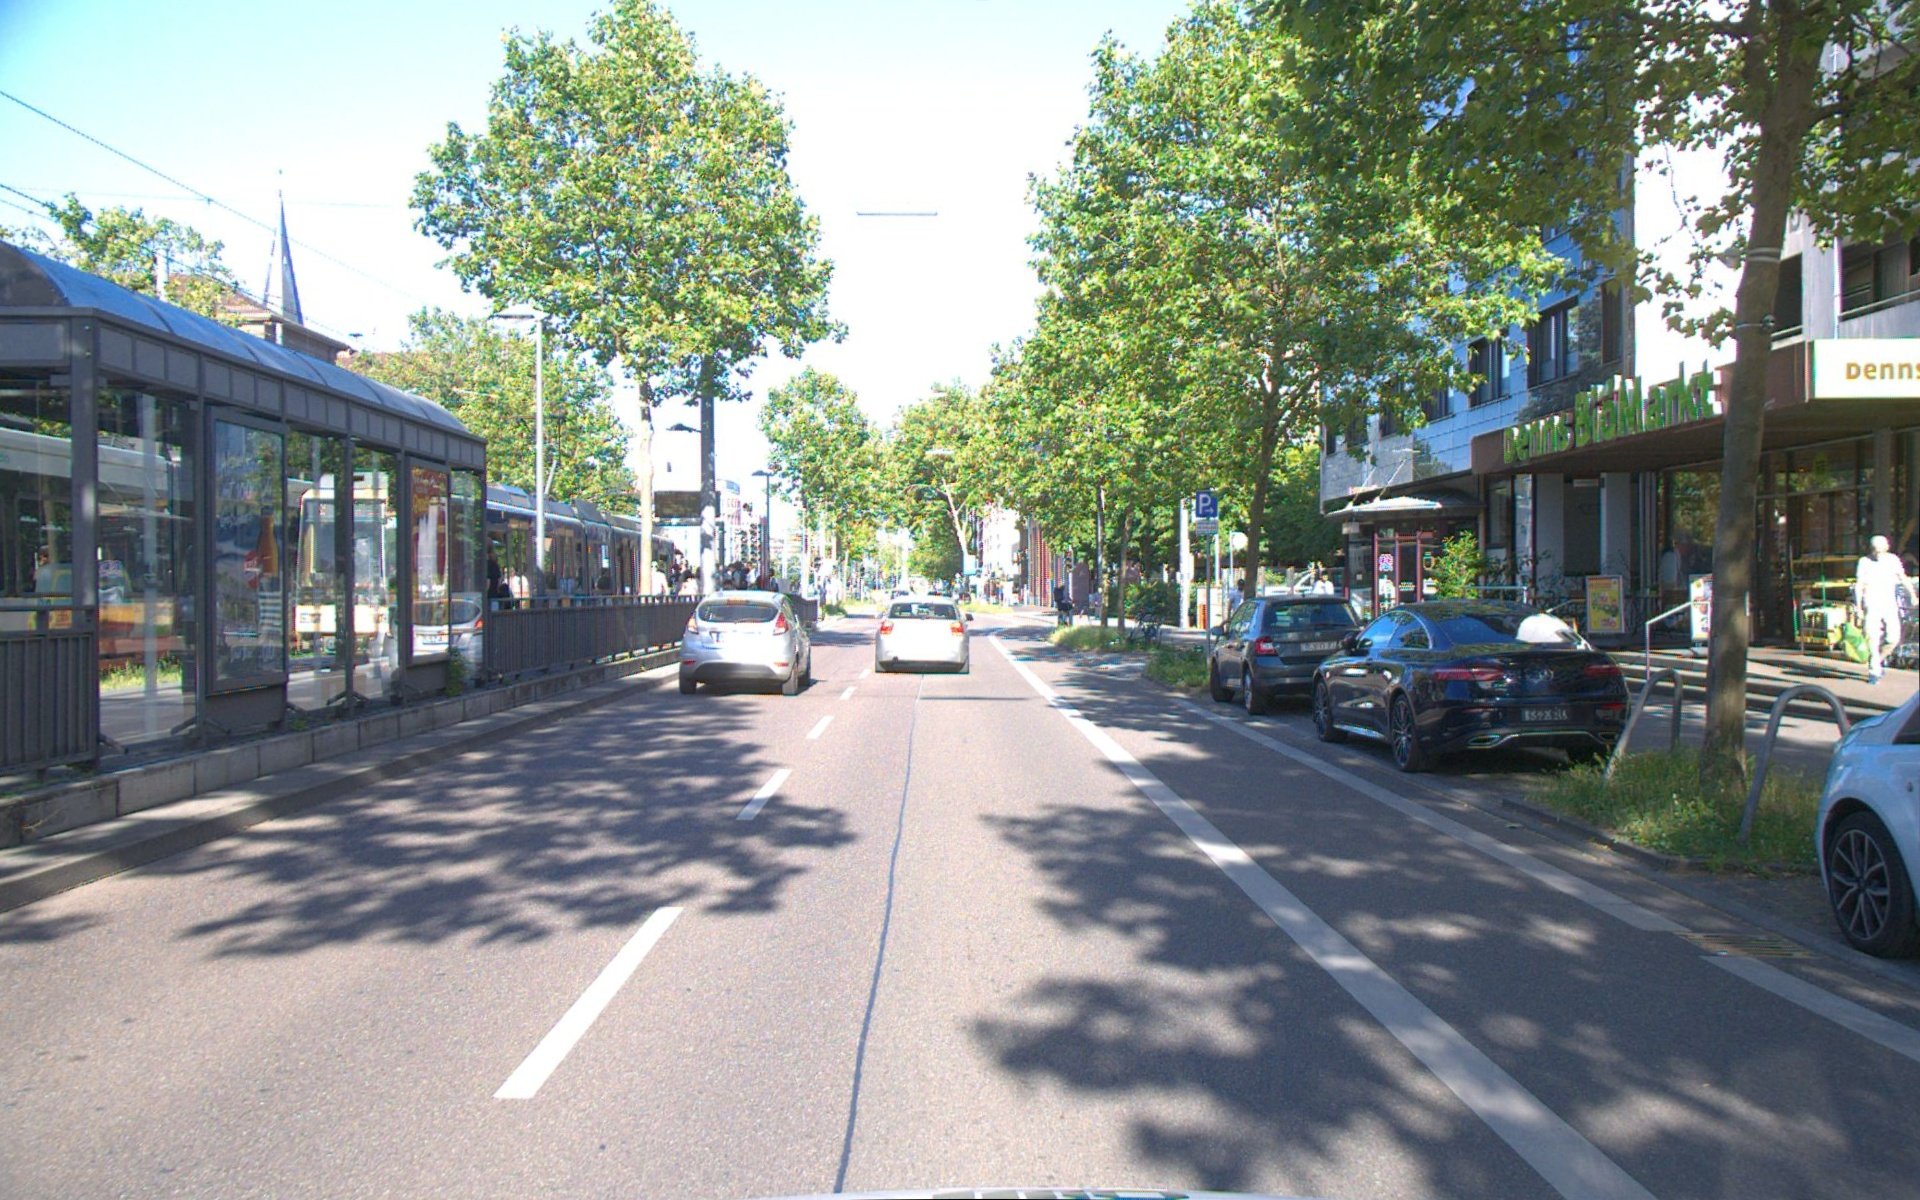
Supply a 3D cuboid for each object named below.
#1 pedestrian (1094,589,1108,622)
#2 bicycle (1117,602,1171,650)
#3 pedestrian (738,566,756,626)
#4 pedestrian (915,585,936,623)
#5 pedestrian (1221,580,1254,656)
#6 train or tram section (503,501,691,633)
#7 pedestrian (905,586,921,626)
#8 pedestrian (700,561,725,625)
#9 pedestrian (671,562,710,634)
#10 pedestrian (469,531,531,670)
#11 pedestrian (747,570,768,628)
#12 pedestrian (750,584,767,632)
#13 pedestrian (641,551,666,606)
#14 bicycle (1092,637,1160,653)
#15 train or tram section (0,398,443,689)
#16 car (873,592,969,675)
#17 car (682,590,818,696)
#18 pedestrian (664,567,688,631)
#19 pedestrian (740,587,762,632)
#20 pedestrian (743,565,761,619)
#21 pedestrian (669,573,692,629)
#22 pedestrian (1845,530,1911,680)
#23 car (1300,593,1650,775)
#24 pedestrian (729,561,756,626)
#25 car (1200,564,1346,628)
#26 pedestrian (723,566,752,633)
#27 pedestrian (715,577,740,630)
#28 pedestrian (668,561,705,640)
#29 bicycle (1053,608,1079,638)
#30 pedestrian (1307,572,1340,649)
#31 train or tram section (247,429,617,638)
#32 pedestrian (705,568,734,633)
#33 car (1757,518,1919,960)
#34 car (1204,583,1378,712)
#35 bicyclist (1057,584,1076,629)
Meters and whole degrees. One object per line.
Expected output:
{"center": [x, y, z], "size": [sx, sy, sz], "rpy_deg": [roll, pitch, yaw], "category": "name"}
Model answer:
{"center": [7.044, 0.267, 82.603], "size": [0.613, 1.657, 0.944], "rpy_deg": [1, 0, 7], "category": "pedestrian"}
{"center": [4.572, 0.624, 41.166], "size": [0.774, 1.153, 1.840], "rpy_deg": [-1, 0, -13], "category": "bicycle"}
{"center": [-6.280, -0.123, 48.721], "size": [0.495, 1.732, 0.611], "rpy_deg": [-1, 0, -5], "category": "pedestrian"}
{"center": [-1.477, 0.183, 70.865], "size": [0.812, 1.603, 0.739], "rpy_deg": [0, -1, 7], "category": "pedestrian"}
{"center": [6.451, 0.402, 38.464], "size": [0.548, 1.734, 1.052], "rpy_deg": [-1, 0, -1], "category": "pedestrian"}
{"center": [-10.468, -0.752, 49.423], "size": [2.855, 3.317, 13.109], "rpy_deg": [2, -1, -1], "category": "train or tram section"}
{"center": [-1.991, 0.253, 69.770], "size": [0.626, 1.648, 0.641], "rpy_deg": [0, -3, -3], "category": "pedestrian"}
{"center": [-6.801, -0.201, 45.431], "size": [0.620, 1.732, 0.746], "rpy_deg": [-1, 0, -5], "category": "pedestrian"}
{"center": [-5.914, -0.047, 36.318], "size": [0.760, 1.536, 0.751], "rpy_deg": [-1, 0, -5], "category": "pedestrian"}
{"center": [-5.604, 0.007, 20.174], "size": [0.555, 1.668, 0.621], "rpy_deg": [1, 0, 1], "category": "pedestrian"}
{"center": [-6.221, -0.038, 50.760], "size": [0.539, 1.764, 0.537], "rpy_deg": [0, 0, -15], "category": "pedestrian"}
{"center": [-5.642, 0.224, 46.338], "size": [0.407, 1.339, 0.507], "rpy_deg": [-1, 0, -3], "category": "pedestrian"}
{"center": [-7.374, -0.512, 39.831], "size": [0.523, 1.322, 0.604], "rpy_deg": [-1, 0, -4], "category": "pedestrian"}
{"center": [4.187, 1.137, 41.857], "size": [1.576, 0.359, 1.389], "rpy_deg": [-1, 0, -1], "category": "bicycle"}
{"center": [-13.012, -0.736, 28.182], "size": [2.791, 3.494, 18.212], "rpy_deg": [1, 0, -1], "category": "train or tram section"}
{"center": [-0.743, 0.595, 31.644], "size": [1.695, 1.414, 3.839], "rpy_deg": [1, 1, -2], "category": "car"}
{"center": [-3.041, 0.600, 24.508], "size": [1.627, 1.434, 3.631], "rpy_deg": [1, 0, -2], "category": "car"}
{"center": [-7.850, -0.028, 45.710], "size": [0.597, 1.732, 0.545], "rpy_deg": [-1, 0, -5], "category": "pedestrian"}
{"center": [-5.706, 0.254, 45.195], "size": [0.534, 1.213, 0.531], "rpy_deg": [-1, 0, -1], "category": "pedestrian"}
{"center": [-6.754, -0.263, 53.781], "size": [0.537, 1.764, 0.539], "rpy_deg": [-1, 0, -5], "category": "pedestrian"}
{"center": [-7.694, 0.027, 45.578], "size": [0.534, 1.545, 0.531], "rpy_deg": [-1, 0, -1], "category": "pedestrian"}
{"center": [10.956, 0.052, 19.751], "size": [0.599, 1.745, 0.613], "rpy_deg": [-2, 2, 26], "category": "pedestrian"}
{"center": [4.605, 0.671, 15.586], "size": [1.726, 1.443, 4.699], "rpy_deg": [1, 0, -2], "category": "car"}
{"center": [-5.834, -0.165, 44.371], "size": [0.647, 1.726, 0.571], "rpy_deg": [-1, 0, 0], "category": "pedestrian"}
{"center": [11.147, -0.145, 59.141], "size": [4.798, 2.019, 1.912], "rpy_deg": [-3, 0, -1], "category": "car"}
{"center": [-5.807, -0.016, 43.190], "size": [0.647, 1.726, 0.571], "rpy_deg": [-1, 0, 0], "category": "pedestrian"}
{"center": [-5.595, 0.084, 39.759], "size": [0.523, 1.268, 0.604], "rpy_deg": [-1, 0, -3], "category": "pedestrian"}
{"center": [-6.219, 0.010, 37.629], "size": [0.760, 1.783, 0.722], "rpy_deg": [-1, 0, -5], "category": "pedestrian"}
{"center": [4.000, 0.864, 62.254], "size": [0.814, 1.059, 1.876], "rpy_deg": [-1, 0, 8], "category": "bicycle"}
{"center": [8.489, 0.246, 38.665], "size": [0.548, 1.775, 0.878], "rpy_deg": [-1, 0, -1], "category": "pedestrian"}
{"center": [-10.244, -0.967, 34.895], "size": [2.855, 3.317, 15.888], "rpy_deg": [2, -1, -1], "category": "train or tram section"}
{"center": [-6.173, 0.010, 42.398], "size": [0.647, 1.662, 0.571], "rpy_deg": [-1, 0, 0], "category": "pedestrian"}
{"center": [4.821, 0.565, 5.971], "size": [1.728, 1.823, 4.392], "rpy_deg": [-1, 0, -1], "category": "car"}
{"center": [4.374, 0.587, 22.378], "size": [1.533, 1.577, 4.000], "rpy_deg": [0, 0, 0], "category": "car"}
{"center": [4.015, 0.241, 62.257], "size": [0.644, 1.686, 0.765], "rpy_deg": [-1, 0, 8], "category": "bicyclist"}
